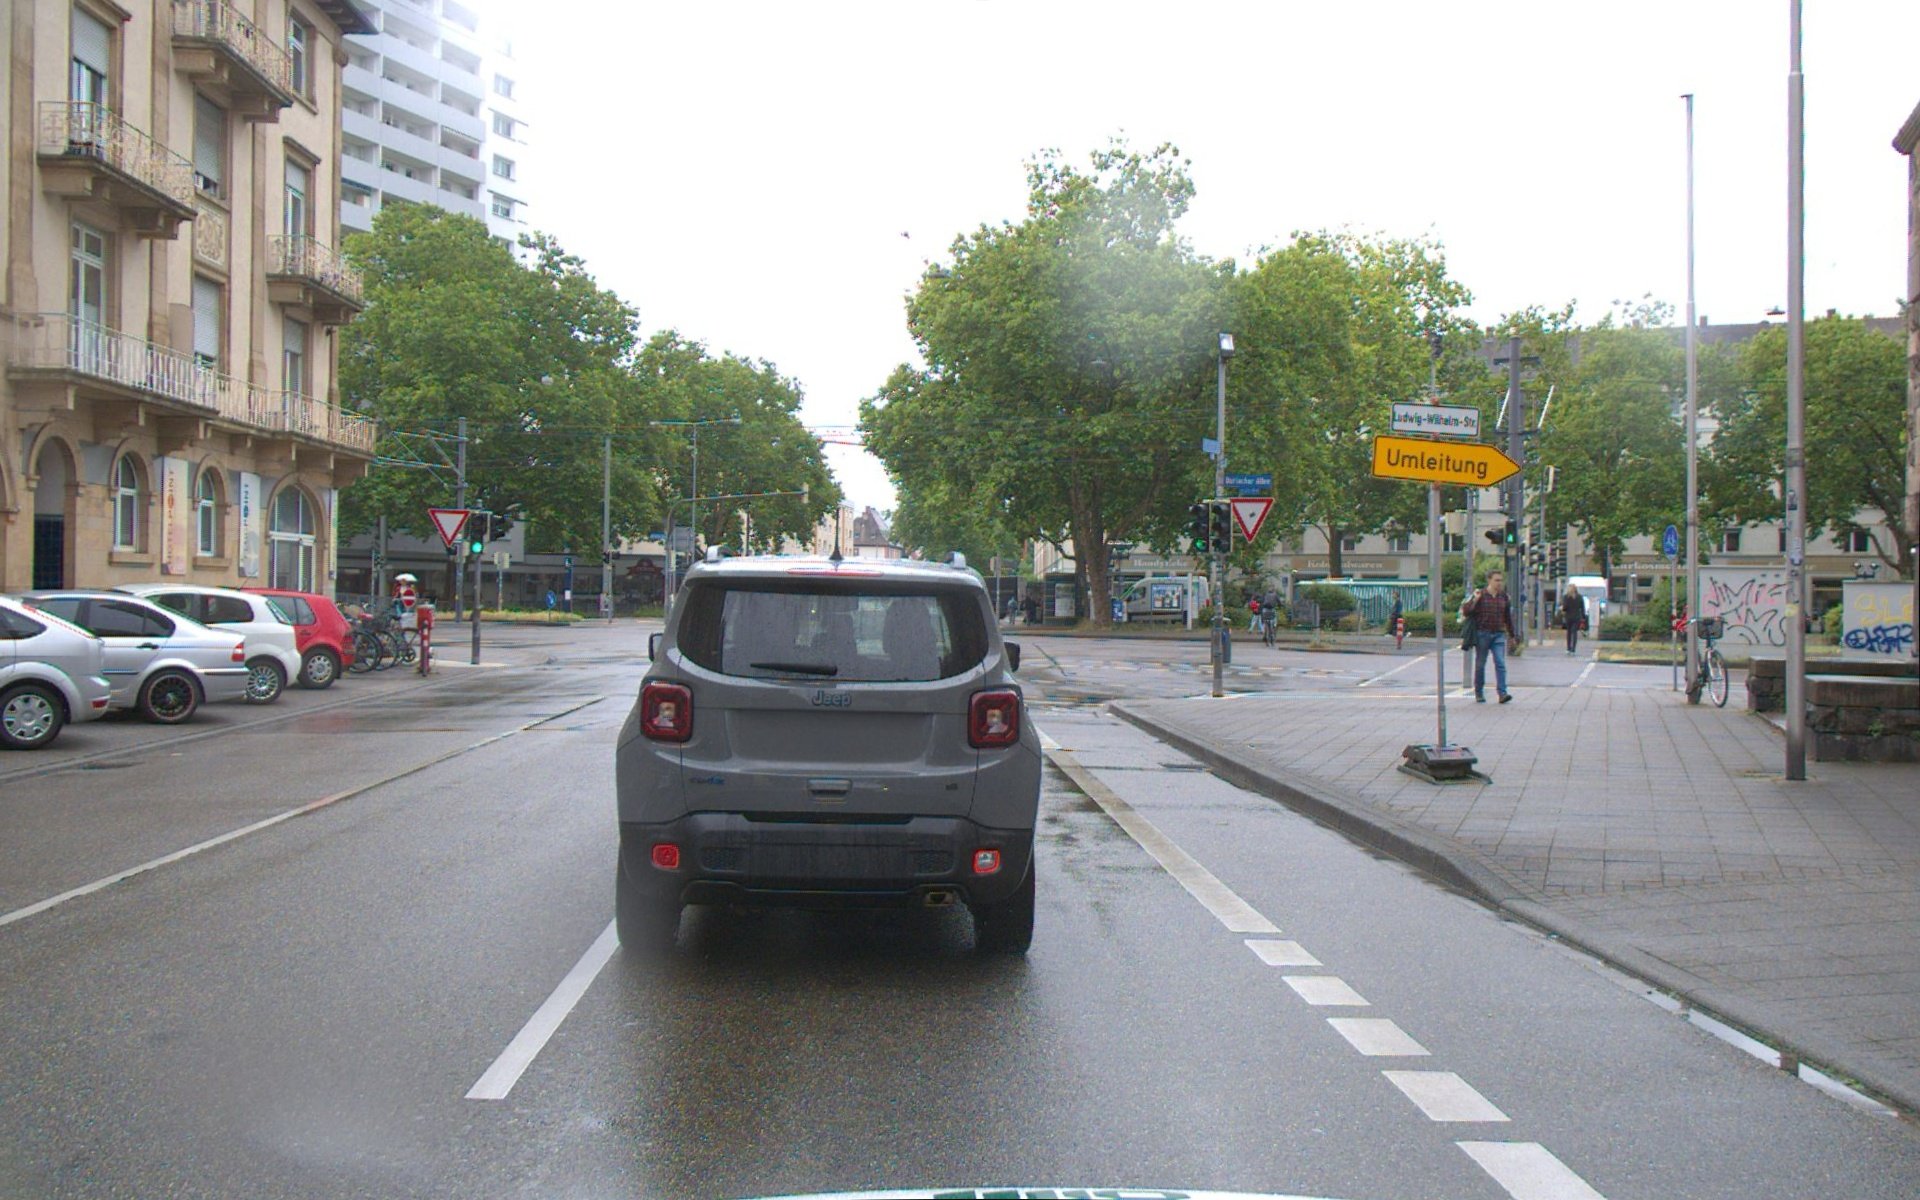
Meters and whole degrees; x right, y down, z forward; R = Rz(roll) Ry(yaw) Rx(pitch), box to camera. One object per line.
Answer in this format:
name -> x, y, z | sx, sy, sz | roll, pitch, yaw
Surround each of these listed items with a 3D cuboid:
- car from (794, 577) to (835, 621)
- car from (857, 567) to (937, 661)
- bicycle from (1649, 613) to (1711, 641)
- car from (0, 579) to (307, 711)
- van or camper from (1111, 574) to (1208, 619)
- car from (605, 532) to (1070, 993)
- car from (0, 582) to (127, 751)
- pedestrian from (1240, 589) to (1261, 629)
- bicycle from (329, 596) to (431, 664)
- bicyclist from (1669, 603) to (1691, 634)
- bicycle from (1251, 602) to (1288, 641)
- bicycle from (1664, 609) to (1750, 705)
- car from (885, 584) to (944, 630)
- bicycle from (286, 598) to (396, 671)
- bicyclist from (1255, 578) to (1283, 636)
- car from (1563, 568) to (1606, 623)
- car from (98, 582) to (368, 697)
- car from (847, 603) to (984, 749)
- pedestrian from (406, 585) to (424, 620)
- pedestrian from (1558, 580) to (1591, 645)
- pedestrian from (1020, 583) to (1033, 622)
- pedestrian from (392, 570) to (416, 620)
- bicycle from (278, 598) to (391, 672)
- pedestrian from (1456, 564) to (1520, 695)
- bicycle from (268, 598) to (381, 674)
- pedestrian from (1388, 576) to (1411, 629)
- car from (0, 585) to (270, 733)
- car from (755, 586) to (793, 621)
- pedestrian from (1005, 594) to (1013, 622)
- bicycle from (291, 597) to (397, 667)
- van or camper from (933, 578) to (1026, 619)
car -> -6.125, -0.057, 69.561 | 1.688, 1.769, 3.726 | 0, 0, -5
car -> -1.431, 0.289, 38.174 | 1.734, 2.049, 3.999 | 0, 0, -2
bicycle -> 24.760, 0.914, 56.904 | 1.926, 0.927, 0.559 | 0, 0, 22
car -> -10.549, 0.537, 21.669 | 3.372, 1.585, 1.681 | 0, 0, -41
van or camper -> 11.010, -0.200, 91.718 | 5.150, 2.356, 2.090 | 1, 1, 2
car -> -0.534, 0.597, 8.180 | 1.739, 1.716, 3.846 | -1, 0, -2
car -> -9.977, 0.619, 15.746 | 3.372, 1.585, 1.681 | 0, 0, -41
pedestrian -> 11.757, 0.368, 66.955 | 0.660, 1.581, 0.761 | 0, -1, 26
bicycle -> -11.051, 0.560, 31.552 | 1.728, 1.288, 0.608 | 0, 0, -3
bicyclist -> 24.759, 0.626, 56.907 | 0.665, 1.044, 0.559 | 0, 0, 22
bicycle -> 8.897, 0.601, 47.467 | 0.677, 1.039, 2.659 | -1, 0, 18
bicycle -> 9.766, 0.712, 21.683 | 0.322, 1.174, 2.076 | 0, 0, 4
car -> -1.344, 0.191, 47.710 | 1.561, 1.274, 3.572 | 0, 0, -3
bicycle -> -11.086, 0.607, 29.644 | 1.774, 1.288, 0.498 | 0, 0, -3
bicyclist -> 8.864, 0.201, 47.396 | 0.672, 1.646, 0.884 | -1, 0, 18
car -> 30.717, -0.222, 81.240 | 1.868, 2.600, 4.786 | 0, 0, 22
car -> -10.788, 0.546, 24.633 | 3.372, 1.585, 1.681 | 0, 0, -41
car -> -0.482, 0.750, 17.862 | 1.336, 1.400, 3.311 | 0, 0, -2
pedestrian -> -24.367, 0.110, 73.984 | 0.433, 1.556, 0.643 | 0, 0, 24
pedestrian -> 16.124, 0.325, 43.402 | 0.767, 1.674, 0.655 | 0, 0, 22
pedestrian -> 3.590, 0.130, 89.365 | 0.637, 2.049, 0.483 | 0, 0, 11
pedestrian -> -21.087, -0.183, 62.715 | 0.605, 1.858, 0.695 | 0, 0, 12
bicycle -> -10.942, 0.603, 28.964 | 1.774, 1.288, 0.498 | 0, 0, -3
pedestrian -> 7.388, 0.403, 23.172 | 0.769, 1.790, 0.946 | 0, 0, 13
bicycle -> -10.910, 0.614, 28.418 | 1.728, 1.288, 0.522 | 0, 0, -3
pedestrian -> 17.164, 0.082, 64.592 | 0.789, 2.049, 0.589 | 0, 0, 25
car -> -9.936, 0.626, 19.021 | 3.372, 1.585, 1.681 | 0, 0, -41
car -> -9.127, 0.164, 81.250 | 1.779, 1.700, 3.916 | 0, 0, -6
pedestrian -> 2.999, 0.486, 101.079 | 0.448, 1.733, 0.424 | 0, 0, -1
bicycle -> -11.413, 0.585, 30.662 | 1.728, 1.288, 0.608 | 0, 0, -3
van or camper -> 1.449, -0.148, 121.459 | 6.397, 2.963, 2.492 | 0, 0, 25
